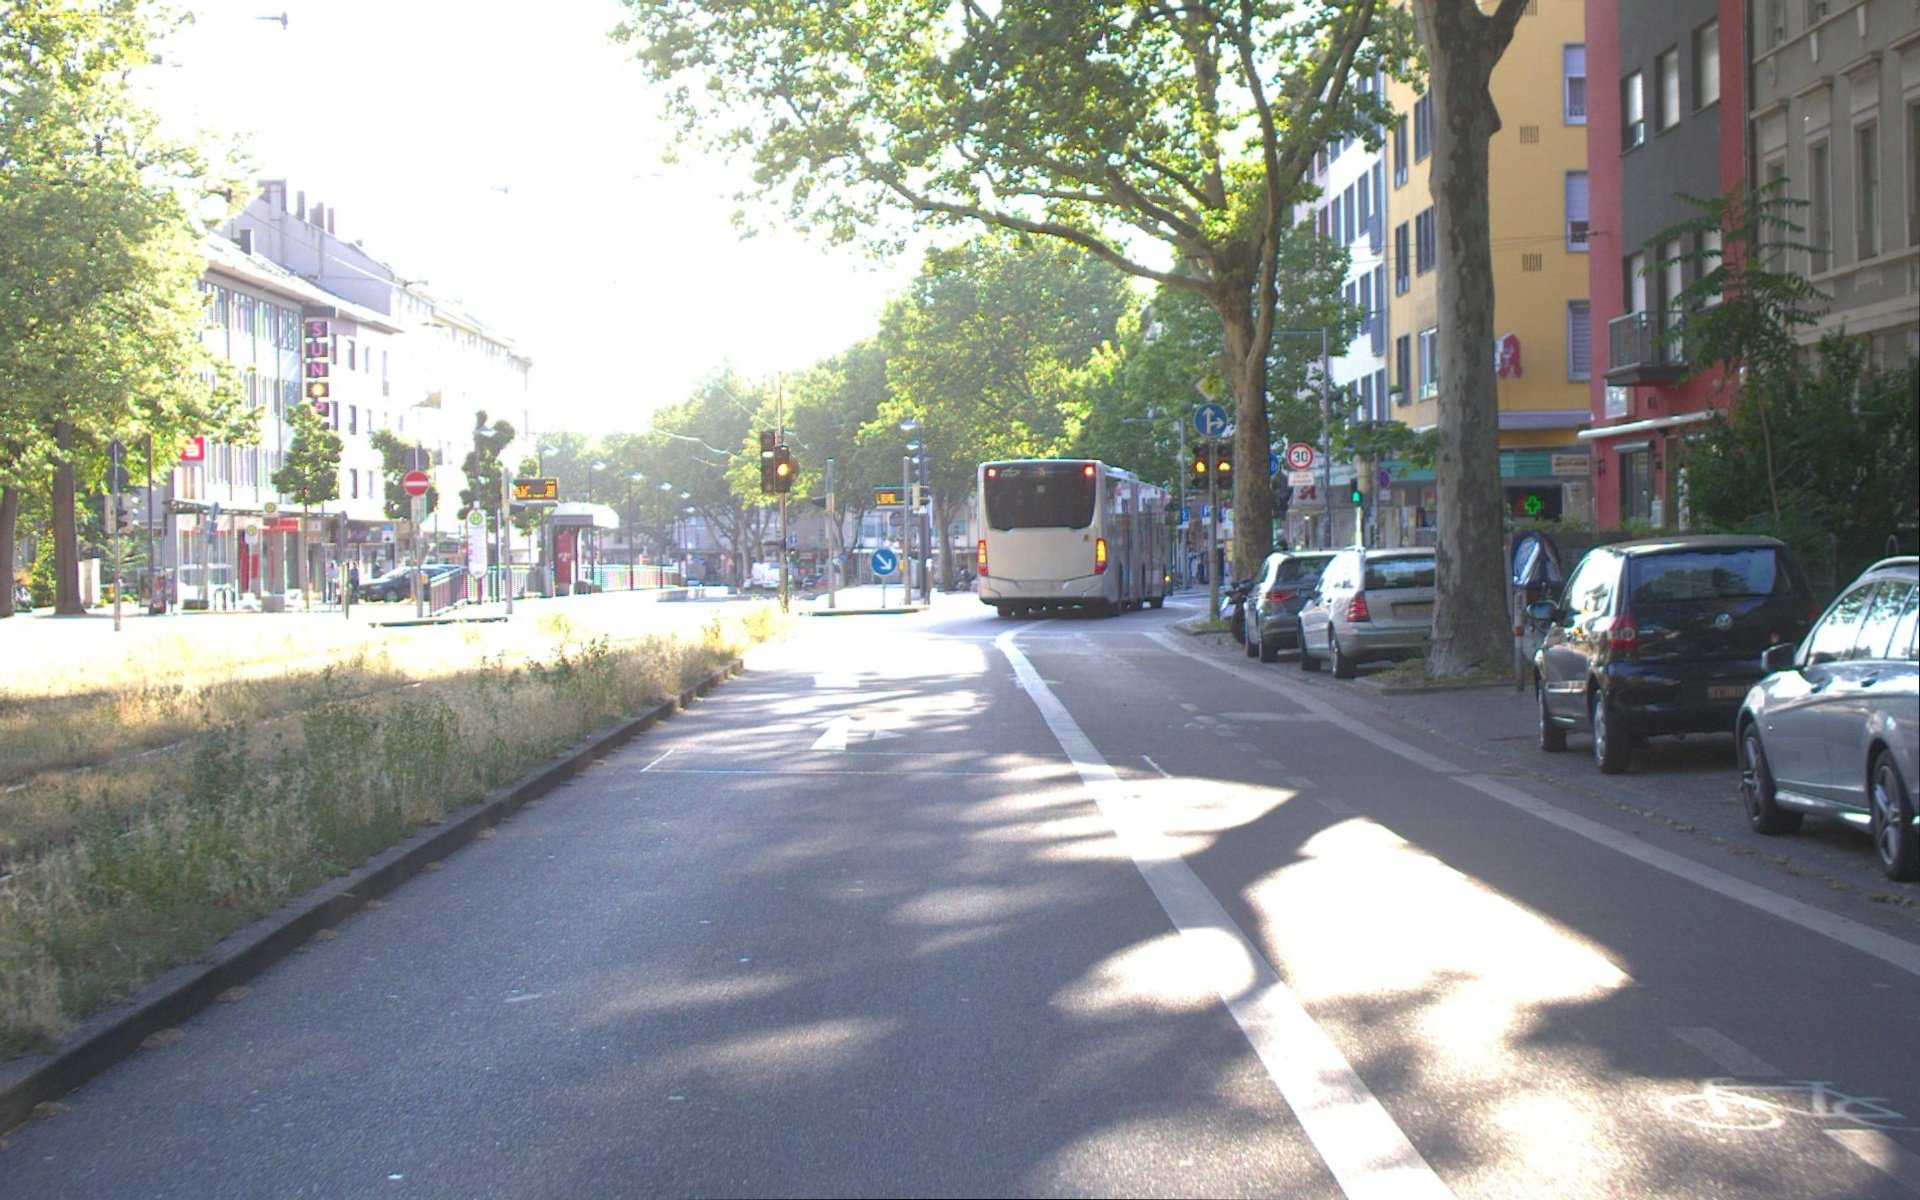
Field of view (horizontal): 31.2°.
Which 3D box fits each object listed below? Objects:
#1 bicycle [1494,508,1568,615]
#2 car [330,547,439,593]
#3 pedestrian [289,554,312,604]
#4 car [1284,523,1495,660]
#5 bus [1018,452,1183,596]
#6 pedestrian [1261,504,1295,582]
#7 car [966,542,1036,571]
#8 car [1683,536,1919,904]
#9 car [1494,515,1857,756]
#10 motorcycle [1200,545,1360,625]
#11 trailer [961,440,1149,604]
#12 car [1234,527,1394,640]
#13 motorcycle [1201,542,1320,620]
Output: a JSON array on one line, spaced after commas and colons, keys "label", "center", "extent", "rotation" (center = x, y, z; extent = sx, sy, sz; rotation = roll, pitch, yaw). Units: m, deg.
[{"label": "bicycle", "center": [7.861, -0.537, 47.413], "extent": [0.607, 1.422, 2.396], "rotation": [1, 1, 1]}, {"label": "car", "center": [-23.680, -1.240, 141.514], "extent": [3.986, 1.809, 2.000], "rotation": [-1, 1, -26]}, {"label": "pedestrian", "center": [-26.704, -0.855, 139.139], "extent": [0.708, 2.007, 0.949], "rotation": [1, 0, 0]}, {"label": "car", "center": [4.840, -0.138, 39.326], "extent": [1.674, 1.446, 4.571], "rotation": [-1, 1, -2]}, {"label": "bus", "center": [3.346, -1.721, 79.454], "extent": [2.813, 3.091, 9.091], "rotation": [1, 1, 8]}, {"label": "pedestrian", "center": [7.290, -1.311, 78.907], "extent": [0.680, 1.764, 0.687], "rotation": [-2, 1, 1]}, {"label": "car", "center": [2.539, -2.715, 213.205], "extent": [3.889, 1.693, 1.833], "rotation": [-1, 1, -28]}, {"label": "car", "center": [4.929, 0.478, 16.782], "extent": [1.694, 1.537, 4.777], "rotation": [-1, 1, -1]}, {"label": "car", "center": [5.002, 0.189, 24.533], "extent": [1.653, 1.540, 4.000], "rotation": [-1, 1, -1]}, {"label": "motorcycle", "center": [4.743, -0.233, 50.940], "extent": [2.205, 1.059, 0.767], "rotation": [-3, 2, -22]}, {"label": "trailer", "center": [2.064, -1.573, 70.618], "extent": [2.813, 3.099, 8.791], "rotation": [1, 1, 8]}, {"label": "car", "center": [4.648, -0.254, 45.593], "extent": [1.710, 1.392, 4.321], "rotation": [-1, 1, 1]}, {"label": "motorcycle", "center": [4.650, -0.297, 53.117], "extent": [1.993, 1.148, 0.601], "rotation": [-2, 2, -42]}]
